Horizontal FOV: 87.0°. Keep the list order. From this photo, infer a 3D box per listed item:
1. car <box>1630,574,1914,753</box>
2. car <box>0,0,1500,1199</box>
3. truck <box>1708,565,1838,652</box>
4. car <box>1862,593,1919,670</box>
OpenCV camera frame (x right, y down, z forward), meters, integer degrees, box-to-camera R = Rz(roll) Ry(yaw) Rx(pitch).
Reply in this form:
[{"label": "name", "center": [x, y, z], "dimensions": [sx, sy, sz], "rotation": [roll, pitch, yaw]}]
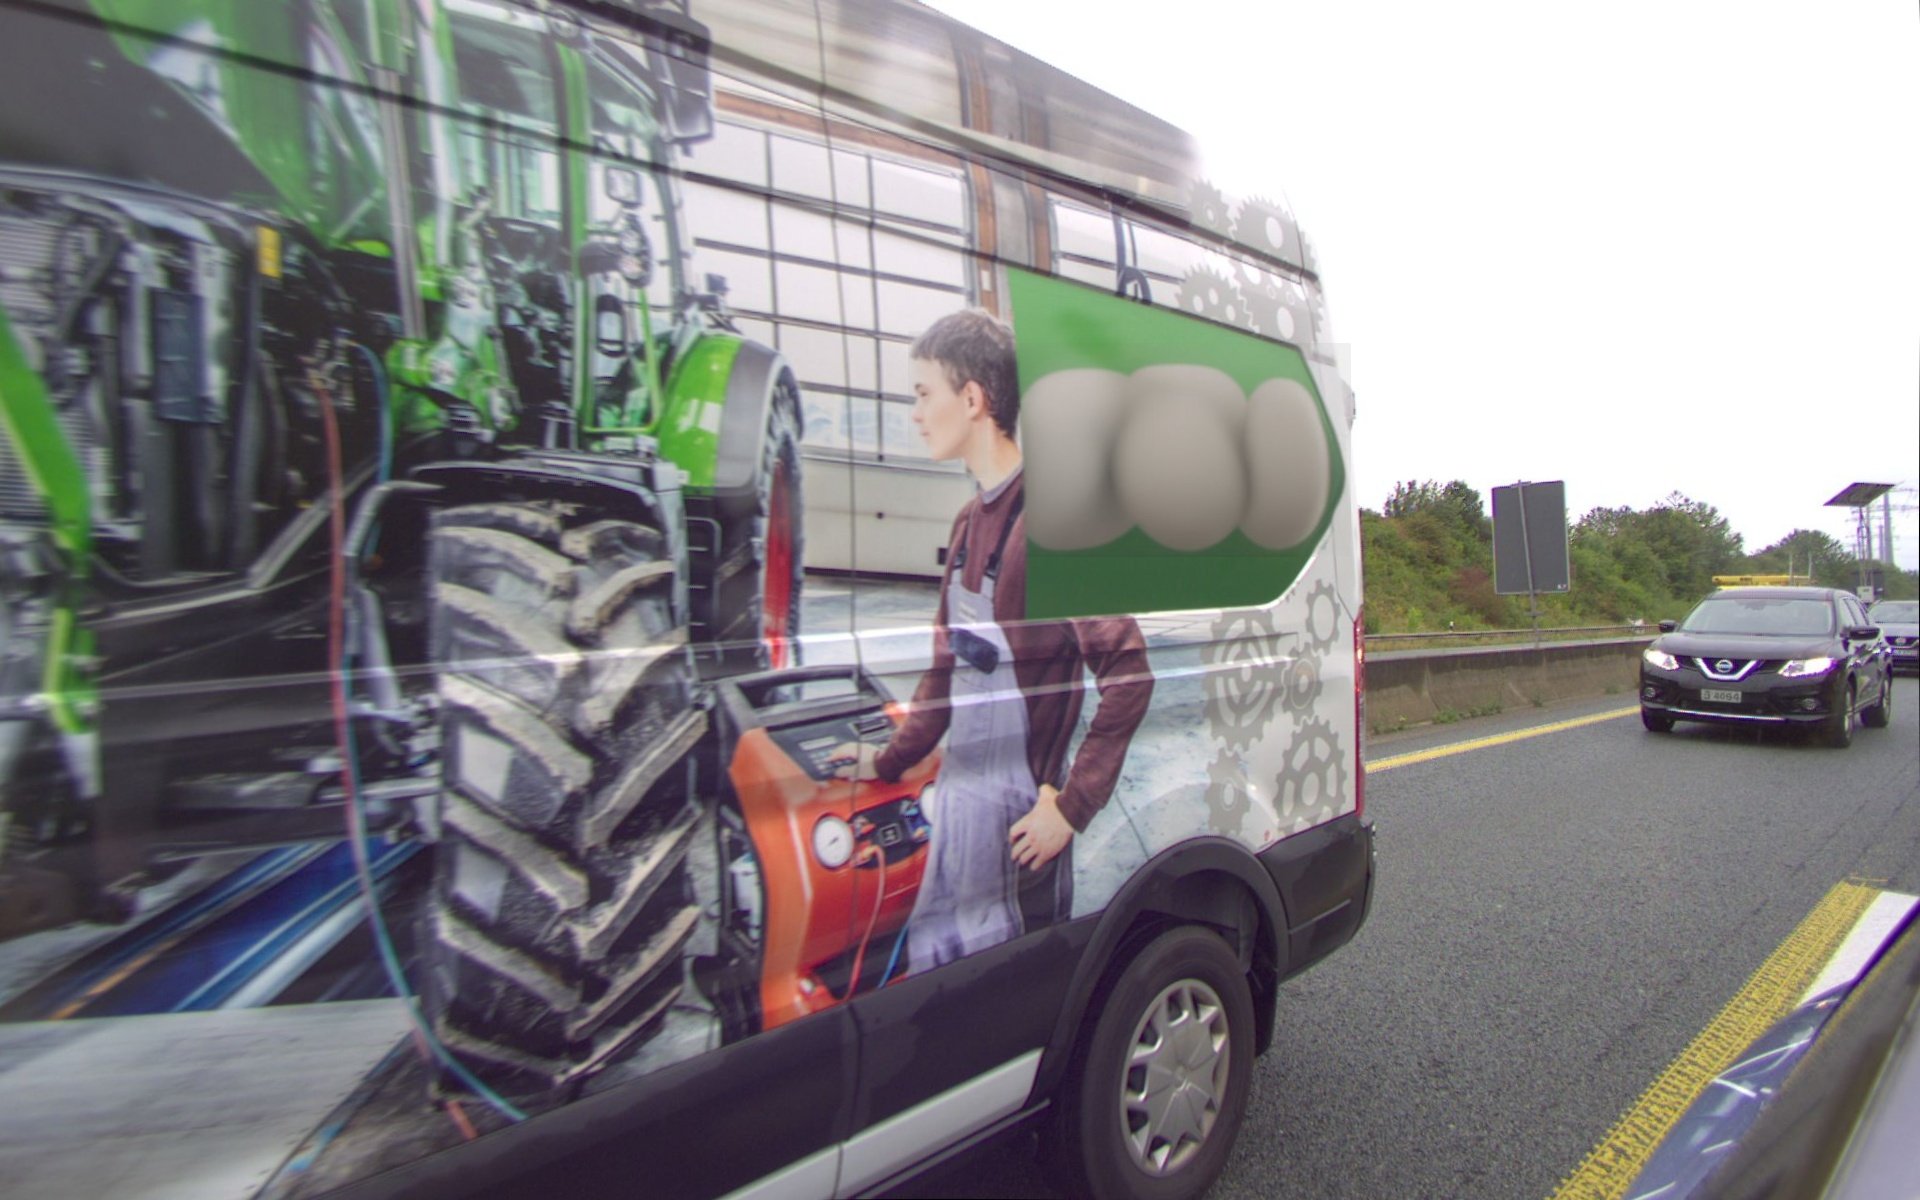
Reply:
[{"label": "car", "center": [9.617, 0.575, 11.836], "dimensions": [4.561, 1.696, 1.892], "rotation": [-1, 1, -42]}, {"label": "car", "center": [-1.330, 0.018, 1.924], "dimensions": [6.010, 2.709, 2.148], "rotation": [-1, 0, -41]}, {"label": "truck", "center": [35.793, 0.280, 44.390], "dimensions": [9.405, 3.467, 2.618], "rotation": [-1, 0, -40]}, {"label": "car", "center": [20.400, 0.610, 21.220], "dimensions": [4.053, 1.509, 1.782], "rotation": [-1, 1, -42]}]
